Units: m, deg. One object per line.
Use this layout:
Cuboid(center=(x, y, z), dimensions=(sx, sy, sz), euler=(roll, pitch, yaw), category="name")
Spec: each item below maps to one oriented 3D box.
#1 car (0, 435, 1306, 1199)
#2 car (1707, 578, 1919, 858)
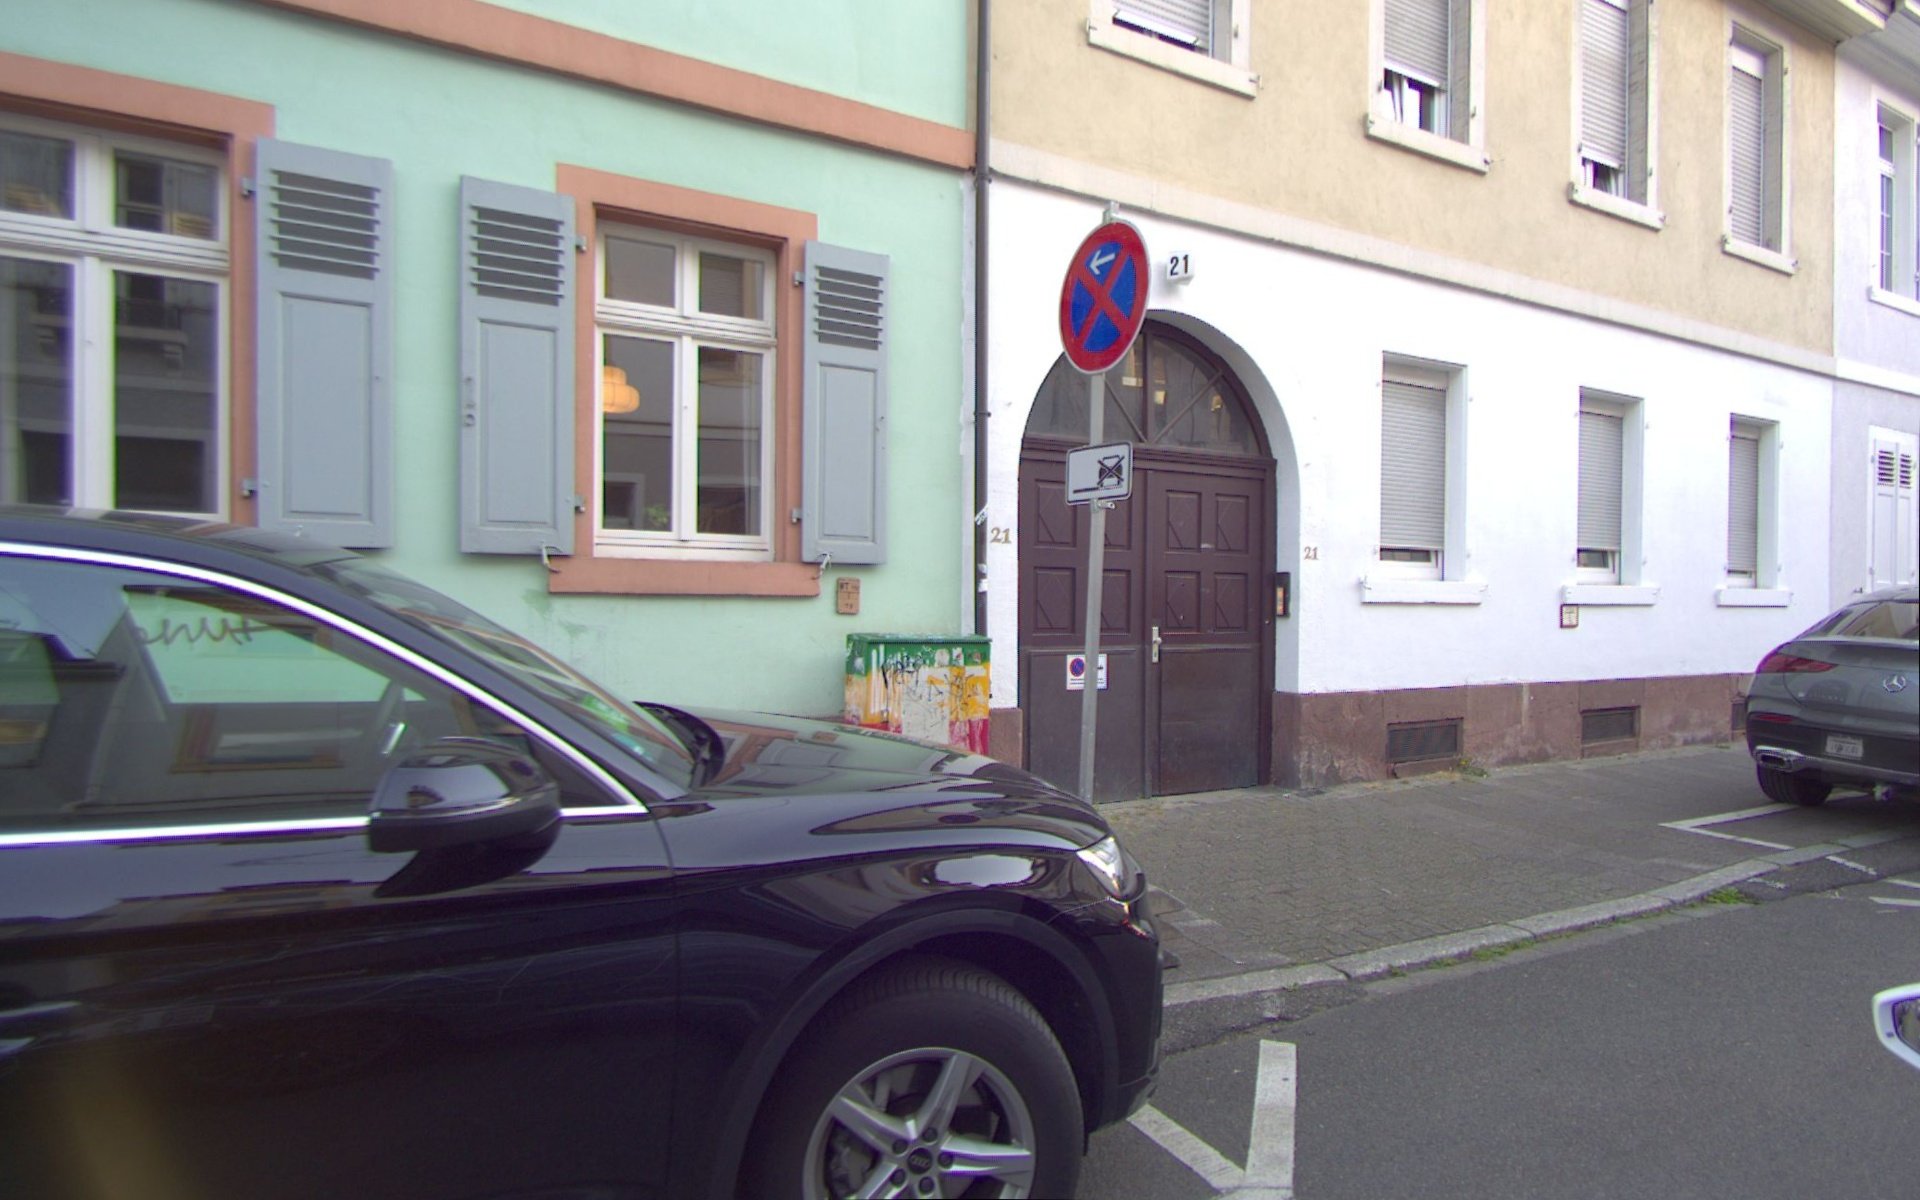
Cuboid(center=(-1.576, 0.641, 2.126), dimensions=(4.431, 1.699, 1.797), euler=(1, 0, -26), category="car")
Cuboid(center=(7.820, 0.751, 7.449), dimensions=(4.480, 1.730, 1.989), euler=(1, 1, -29), category="car")
